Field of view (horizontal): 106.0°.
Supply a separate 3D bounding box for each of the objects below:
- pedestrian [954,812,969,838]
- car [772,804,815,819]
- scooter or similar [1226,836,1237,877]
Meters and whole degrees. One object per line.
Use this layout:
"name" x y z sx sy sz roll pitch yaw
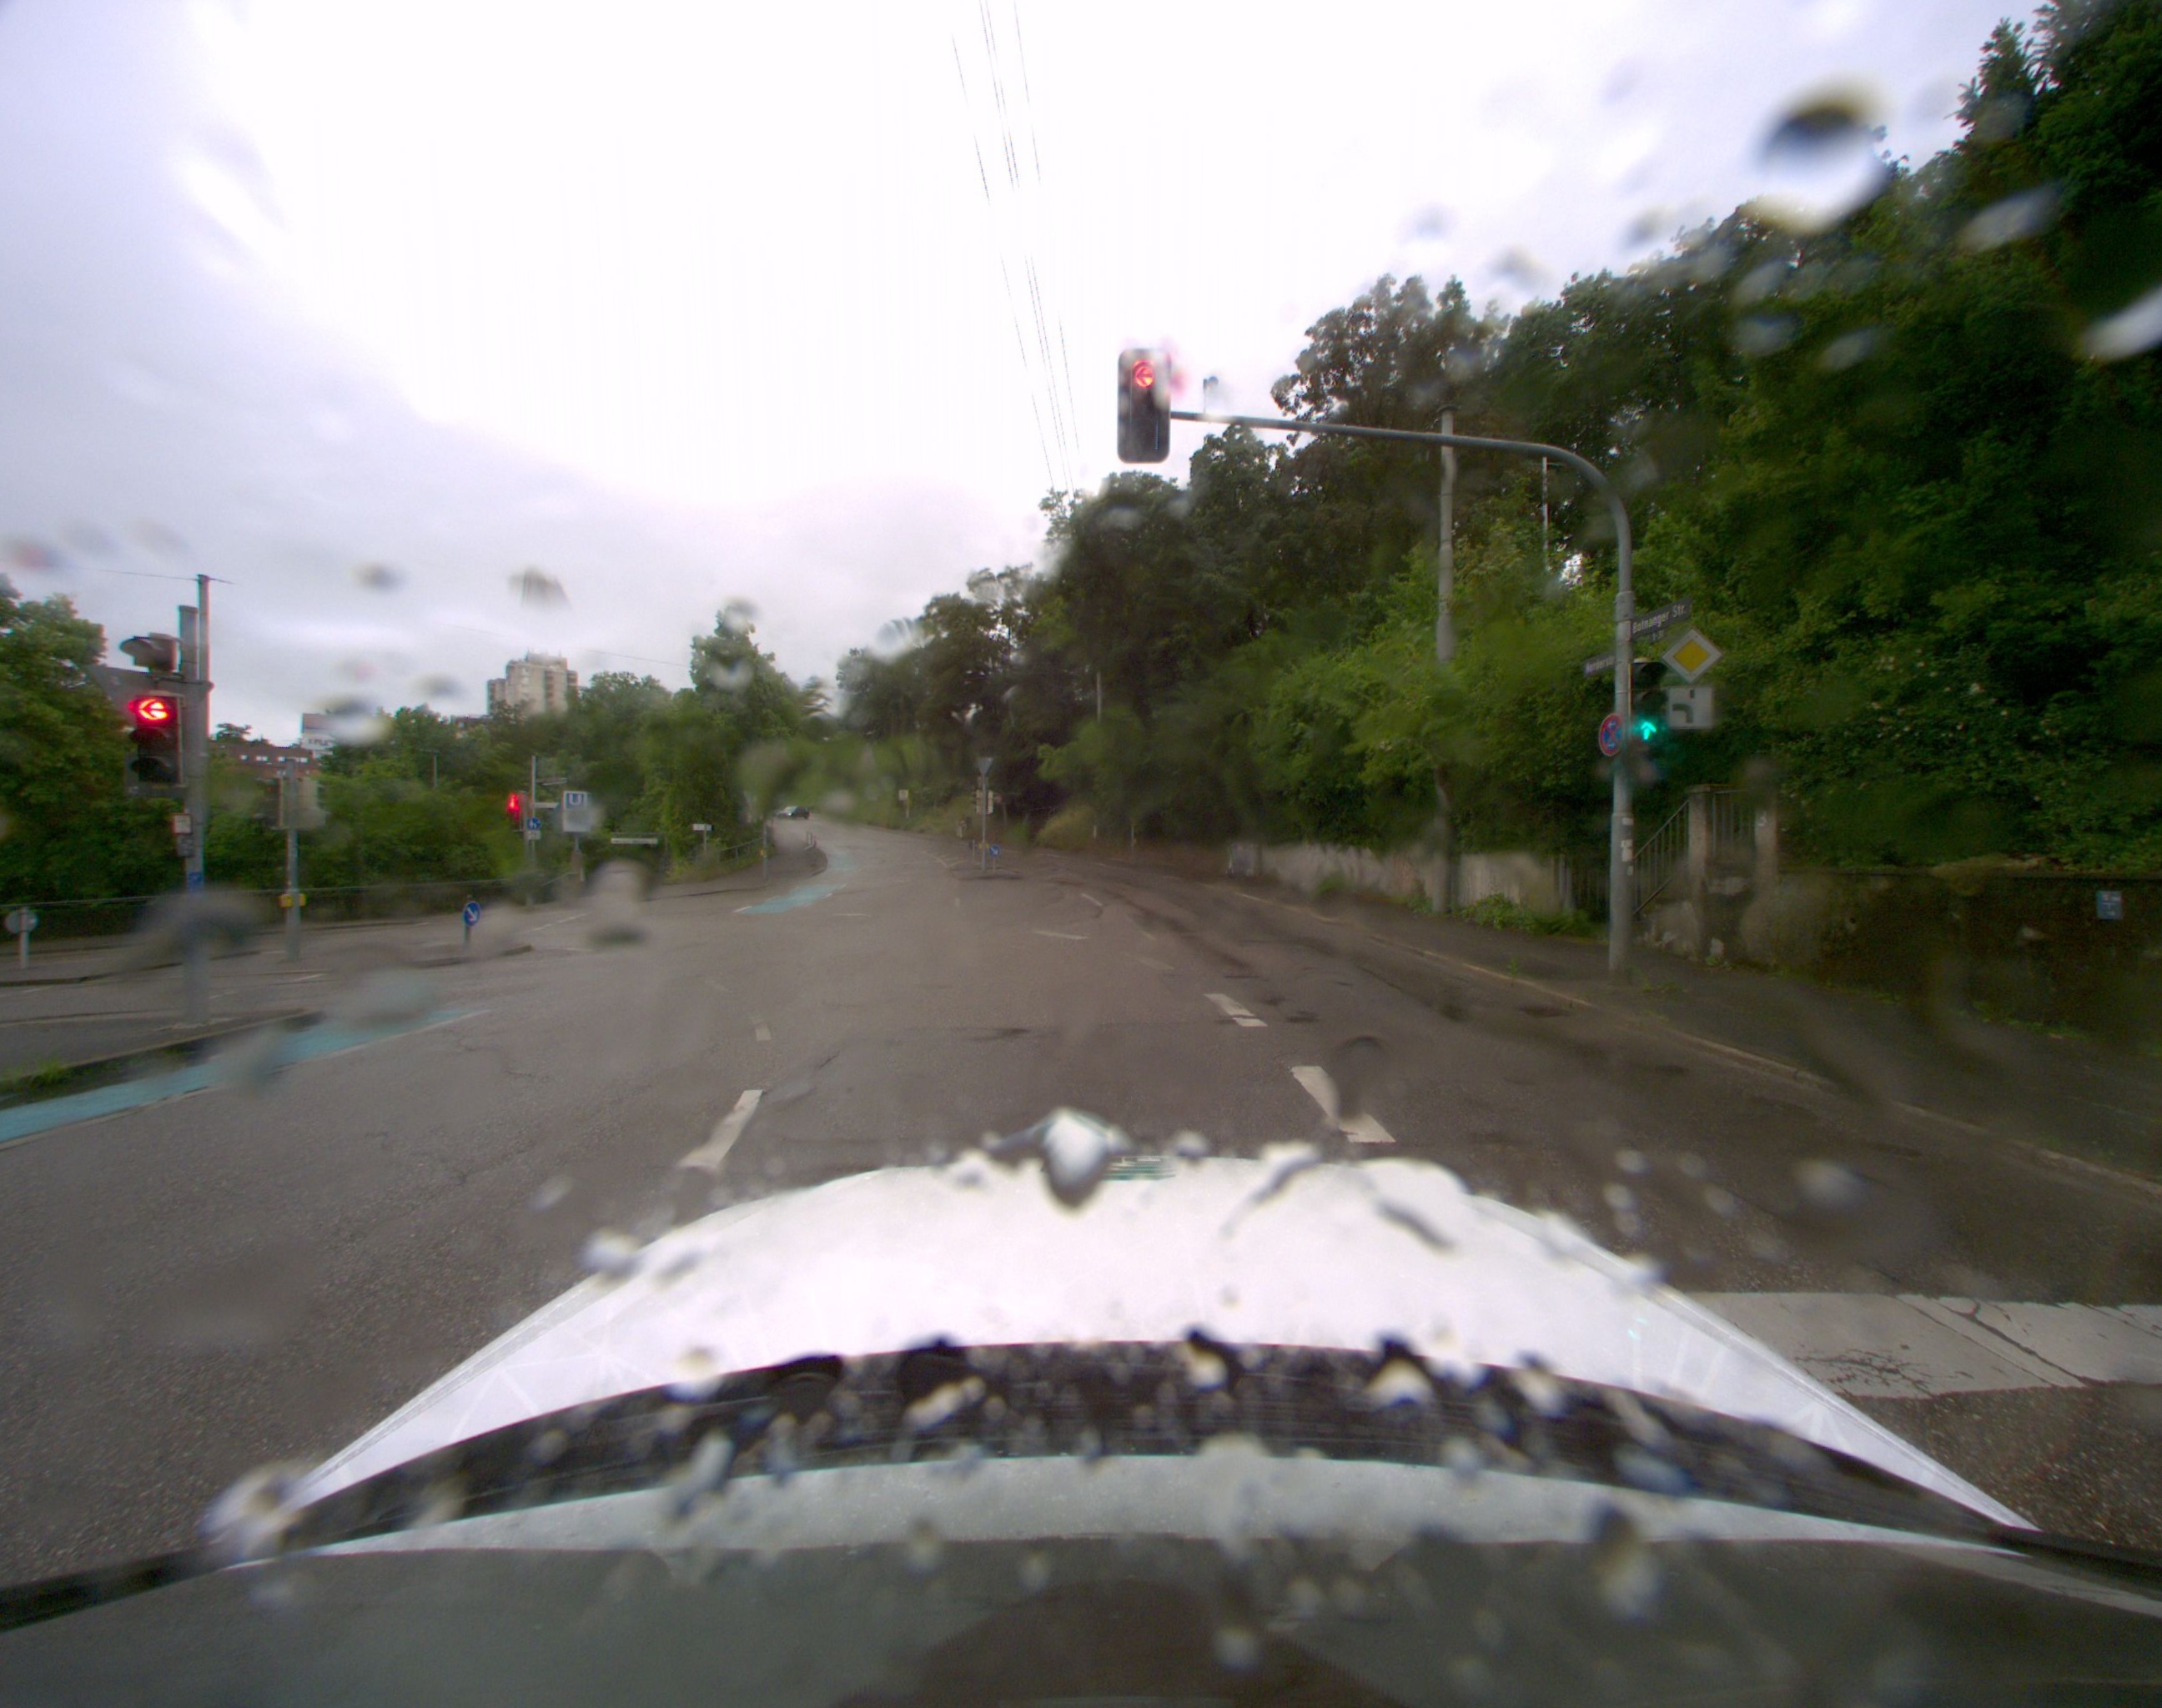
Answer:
"pedestrian" -8.187 -1.989 55.868 0.882 1.736 0.861 0 -1 -15
"car" -31.686 -4.669 89.879 1.939 1.511 4.430 2 3 25
"scooter or similar" 4.897 0.063 26.510 0.320 1.279 0.754 -1 2 10
